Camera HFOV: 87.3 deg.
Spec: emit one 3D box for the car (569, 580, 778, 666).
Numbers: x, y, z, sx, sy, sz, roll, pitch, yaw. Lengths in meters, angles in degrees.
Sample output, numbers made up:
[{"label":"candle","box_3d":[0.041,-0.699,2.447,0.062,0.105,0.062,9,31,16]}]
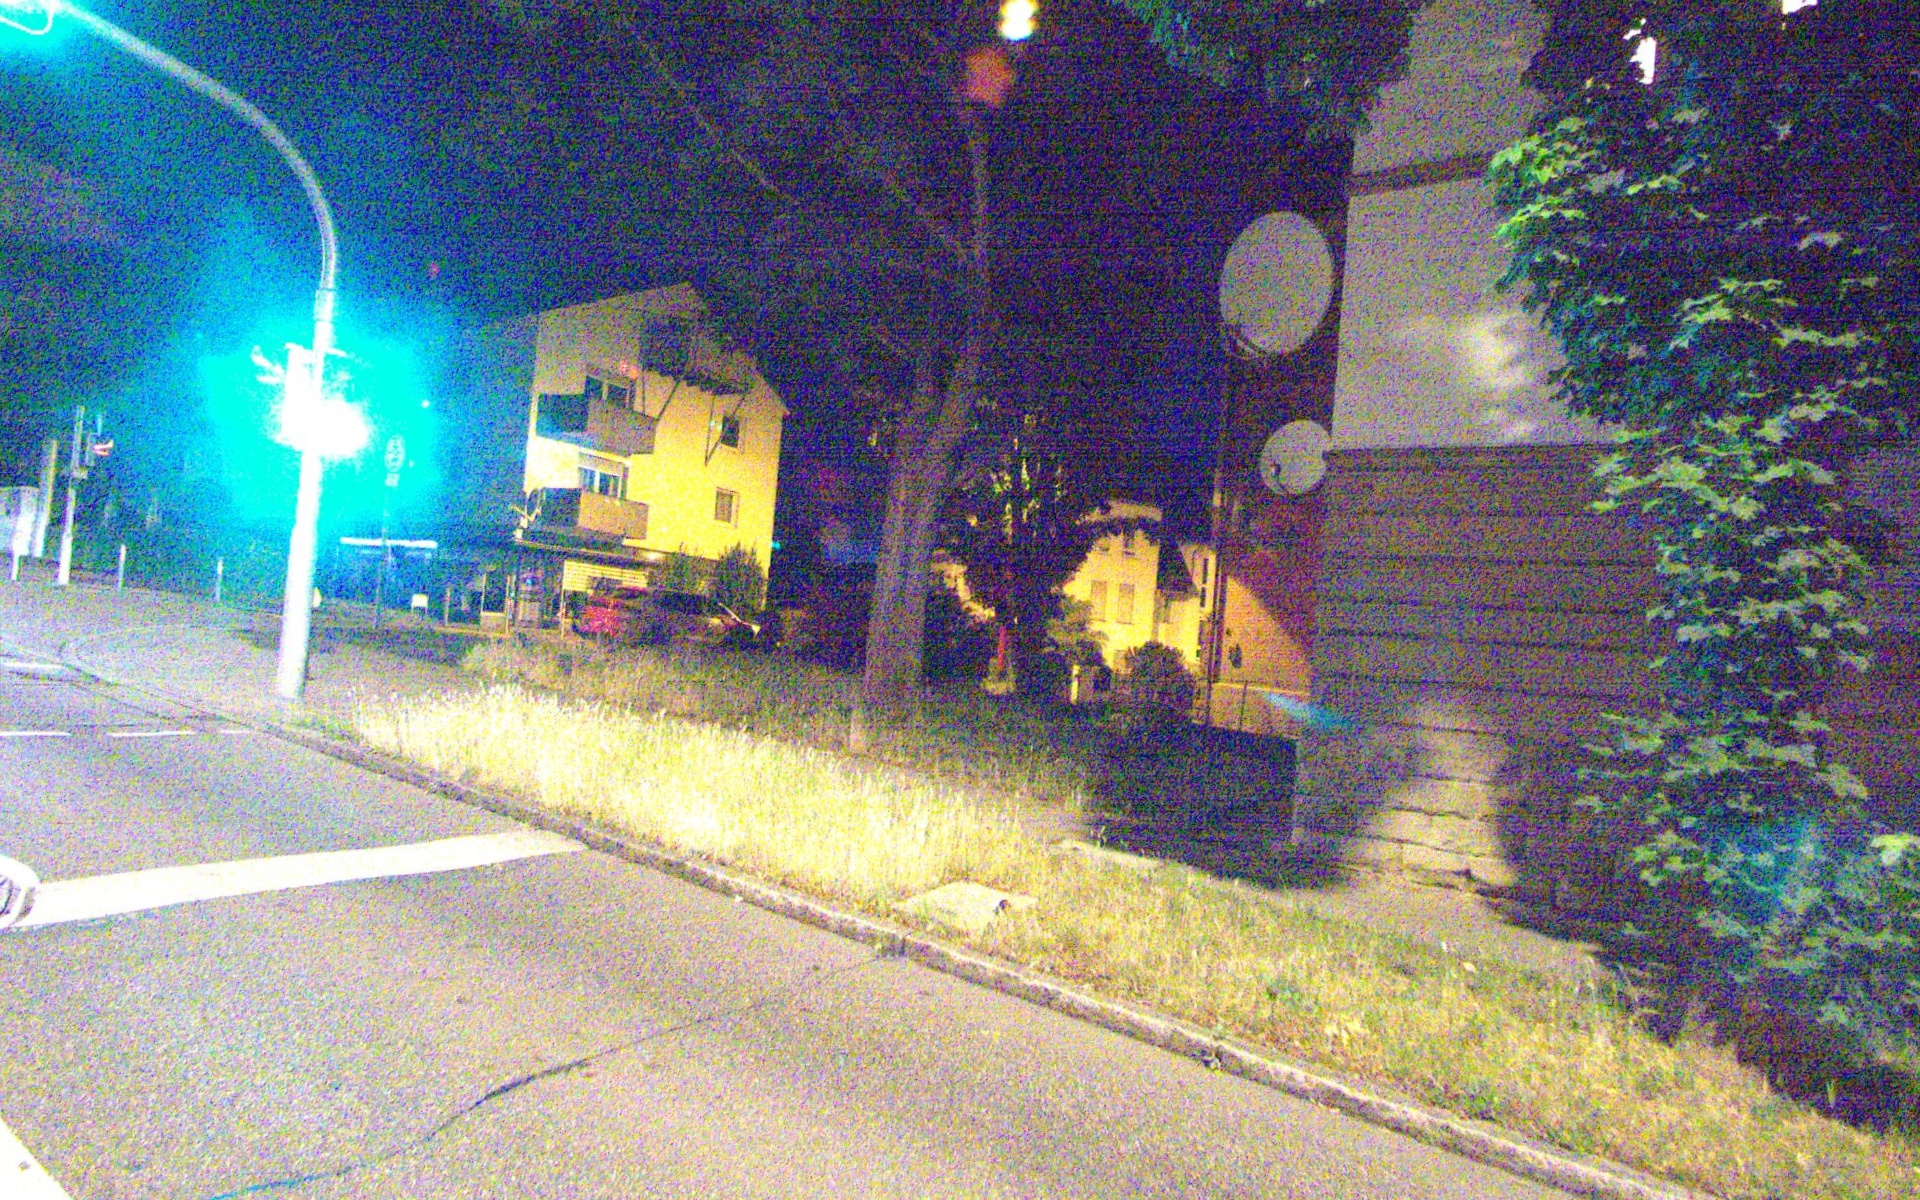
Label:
[{"label":"car","box_3d":[-6.508,0.584,23.296,1.778,1.577,4.366,3,-3,38]}]
